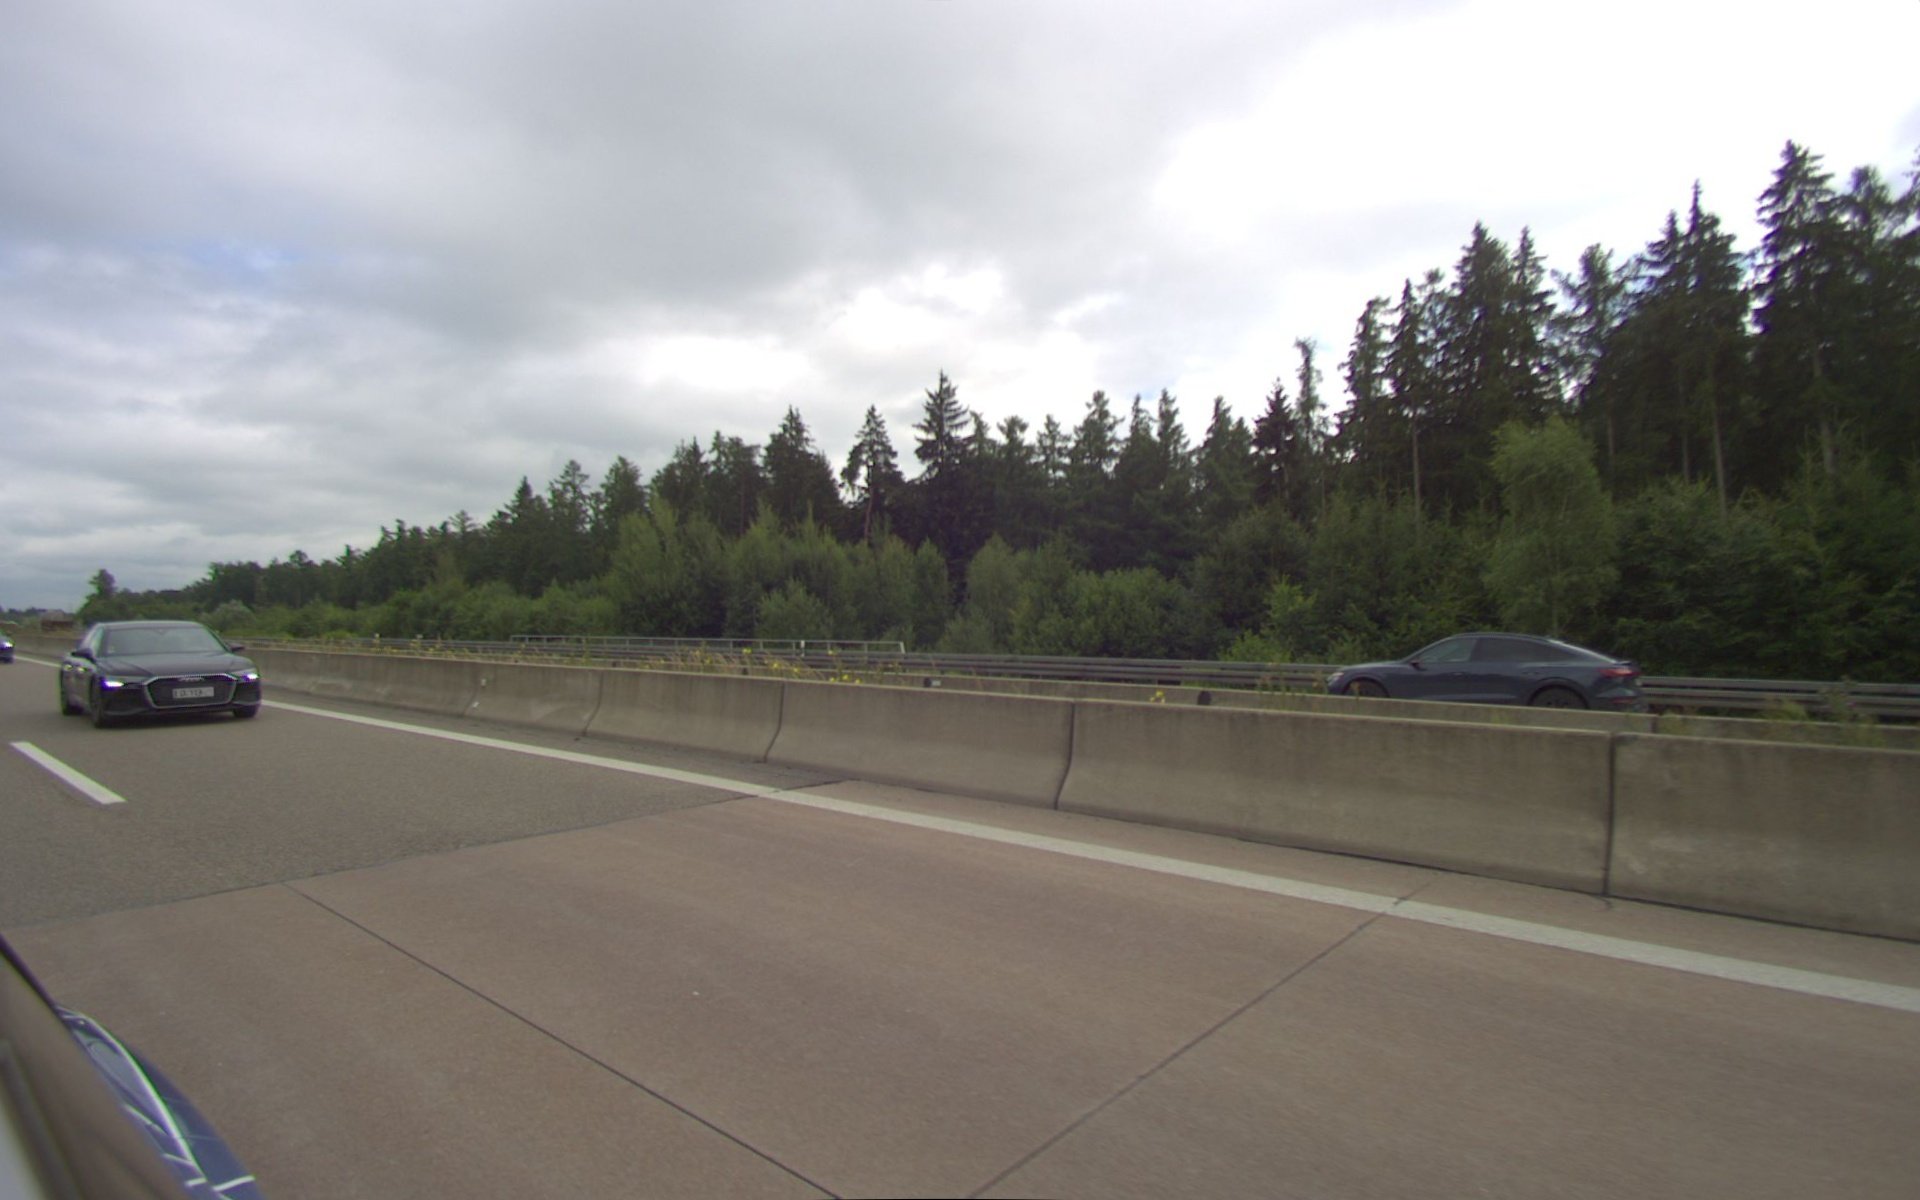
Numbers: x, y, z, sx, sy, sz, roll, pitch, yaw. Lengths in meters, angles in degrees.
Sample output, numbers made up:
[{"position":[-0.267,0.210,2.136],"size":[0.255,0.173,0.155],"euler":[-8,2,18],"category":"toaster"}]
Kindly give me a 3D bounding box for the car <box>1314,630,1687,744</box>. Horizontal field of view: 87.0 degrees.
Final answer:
[{"position":[8.908,1.321,16.998],"size":[5.195,1.603,2.102],"euler":[-1,-2,41],"category":"car"}]

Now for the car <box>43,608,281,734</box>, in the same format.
[{"position":[-12.373,0.954,15.512],"size":[5.675,1.562,2.062],"euler":[-1,0,43],"category":"car"}]

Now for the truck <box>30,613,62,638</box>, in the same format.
[{"position":[-131.403,3.693,145.479],"size":[5.344,3.445,2.902],"euler":[-2,-1,43],"category":"truck"}]

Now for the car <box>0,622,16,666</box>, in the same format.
[{"position":[-35.383,1.539,36.061],"size":[5.450,1.503,2.037],"euler":[-1,-1,41],"category":"car"}]

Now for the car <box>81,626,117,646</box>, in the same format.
[{"position":[-93.219,3.898,109.565],"size":[5.267,2.028,2.231],"euler":[-1,1,42],"category":"car"}]

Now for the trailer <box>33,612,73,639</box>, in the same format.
[{"position":[-125.985,3.554,140.470],"size":[13.269,3.445,2.902],"euler":[-1,-1,43],"category":"trailer"}]
